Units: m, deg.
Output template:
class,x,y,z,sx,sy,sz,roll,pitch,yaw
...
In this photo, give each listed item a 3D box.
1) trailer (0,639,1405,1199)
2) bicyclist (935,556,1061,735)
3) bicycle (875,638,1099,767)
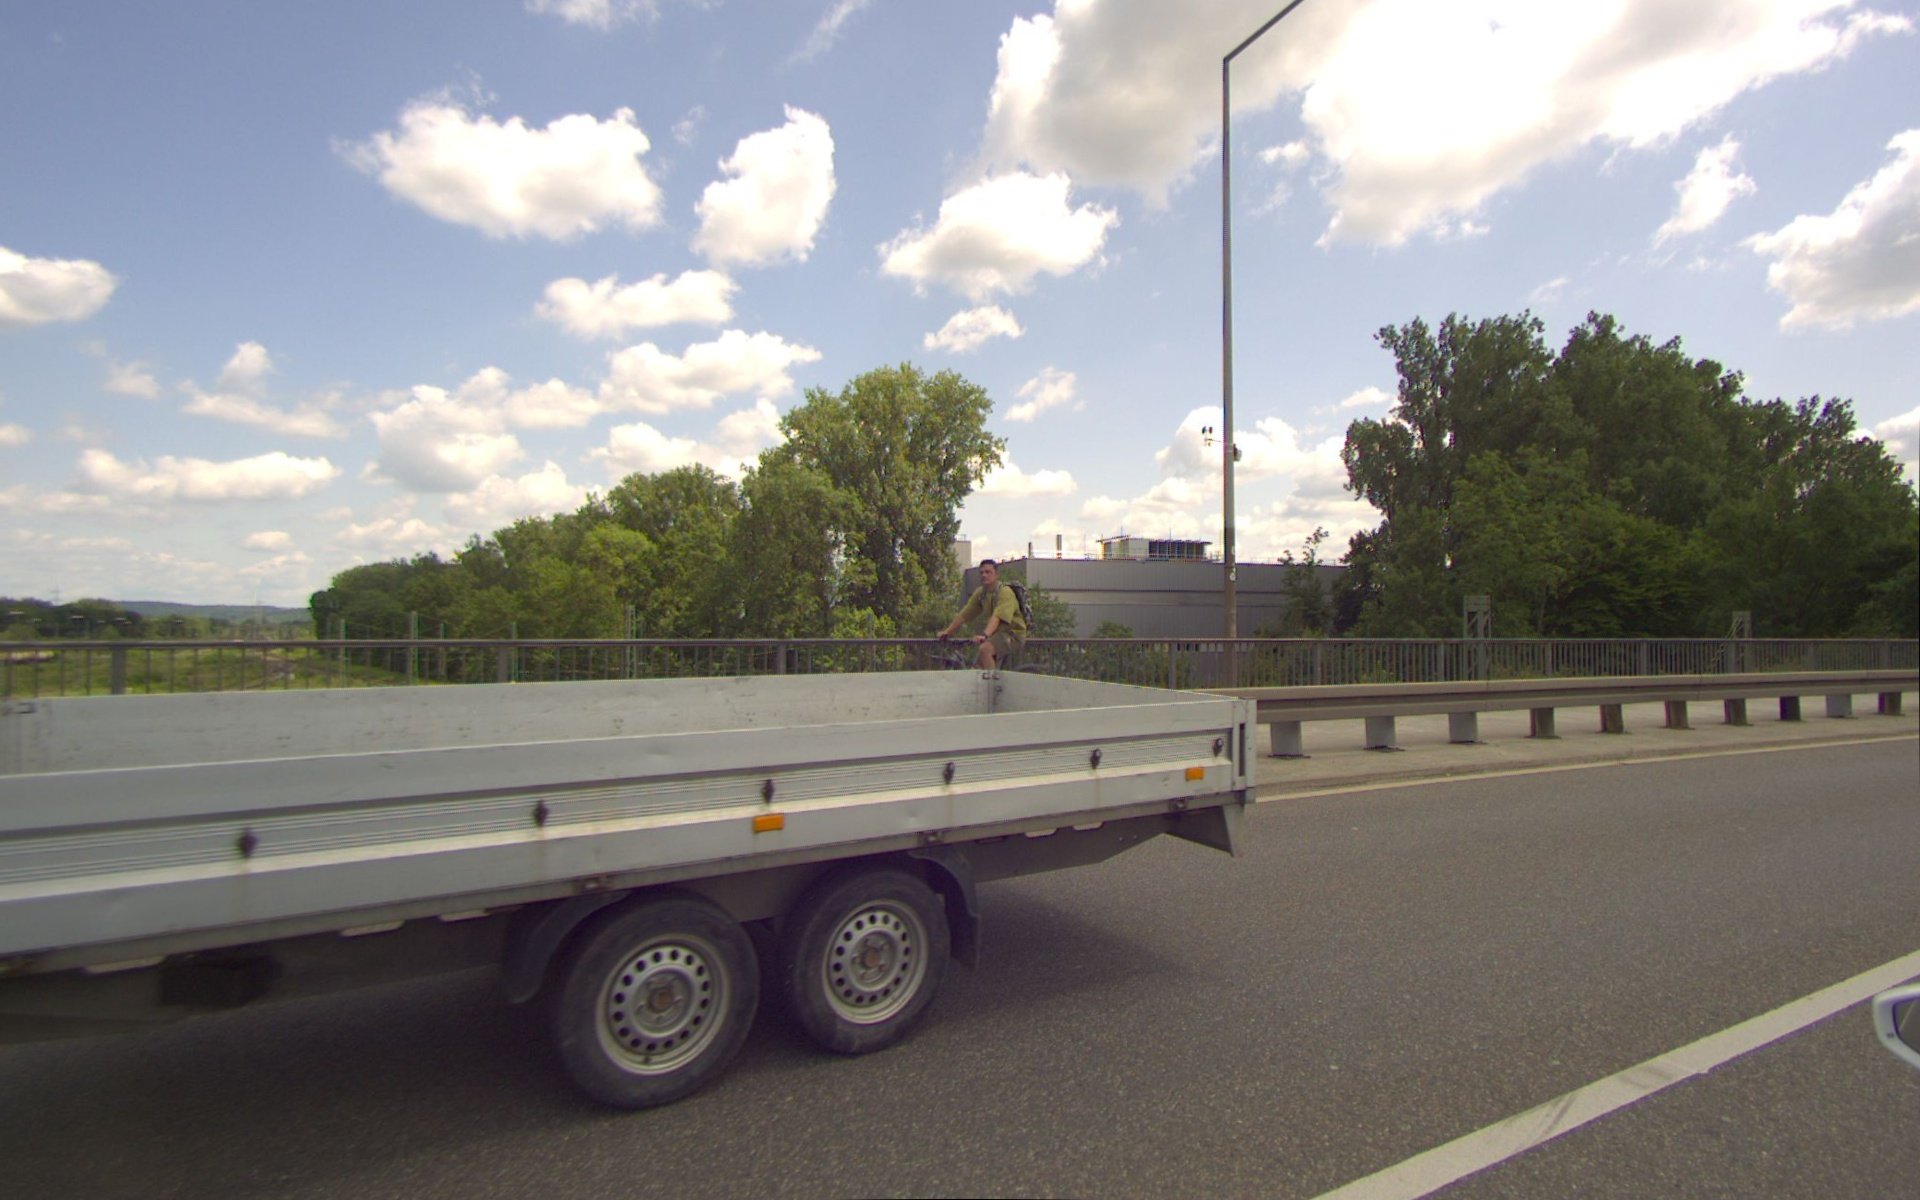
class,x,y,z,sx,sy,sz,roll,pitch,yaw
trailer,-1.075,0.813,3.677,5.917,1.225,2.033,1,0,-33
bicyclist,0.366,0.425,9.718,0.937,1.623,0.762,1,-1,-33
bicycle,0.292,0.931,9.670,2.093,1.109,0.764,2,-1,-33
